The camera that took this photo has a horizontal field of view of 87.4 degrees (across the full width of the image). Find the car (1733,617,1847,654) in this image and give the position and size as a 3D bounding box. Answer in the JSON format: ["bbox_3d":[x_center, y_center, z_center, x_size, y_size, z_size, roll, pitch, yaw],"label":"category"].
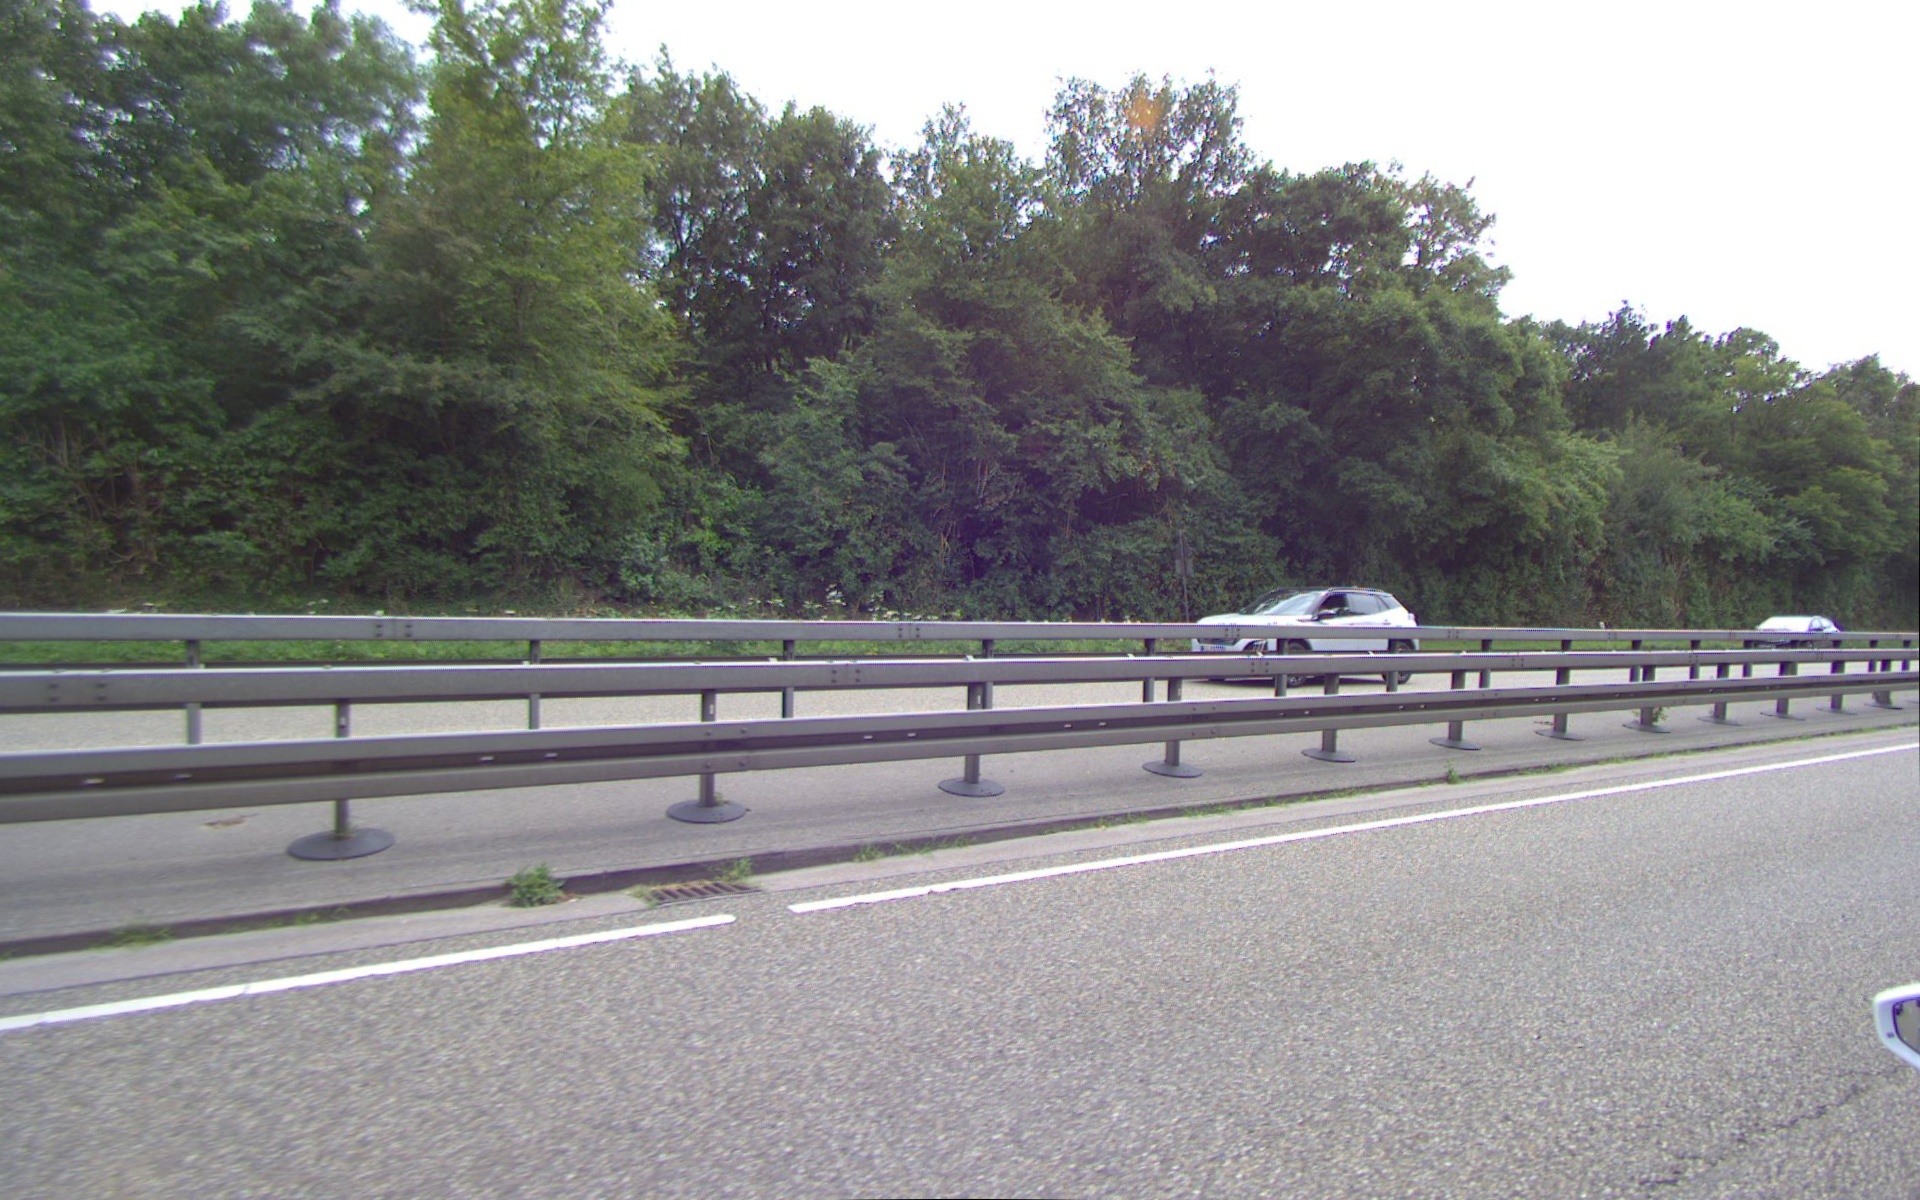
[{"bbox_3d":[29.009,1.235,35.070,4.240,1.205,1.734,1,-1,-30],"label":"car"}]

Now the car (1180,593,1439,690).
[{"bbox_3d":[5.736,0.647,16.336,4.240,1.407,1.635,1,-1,-30],"label":"car"}]
